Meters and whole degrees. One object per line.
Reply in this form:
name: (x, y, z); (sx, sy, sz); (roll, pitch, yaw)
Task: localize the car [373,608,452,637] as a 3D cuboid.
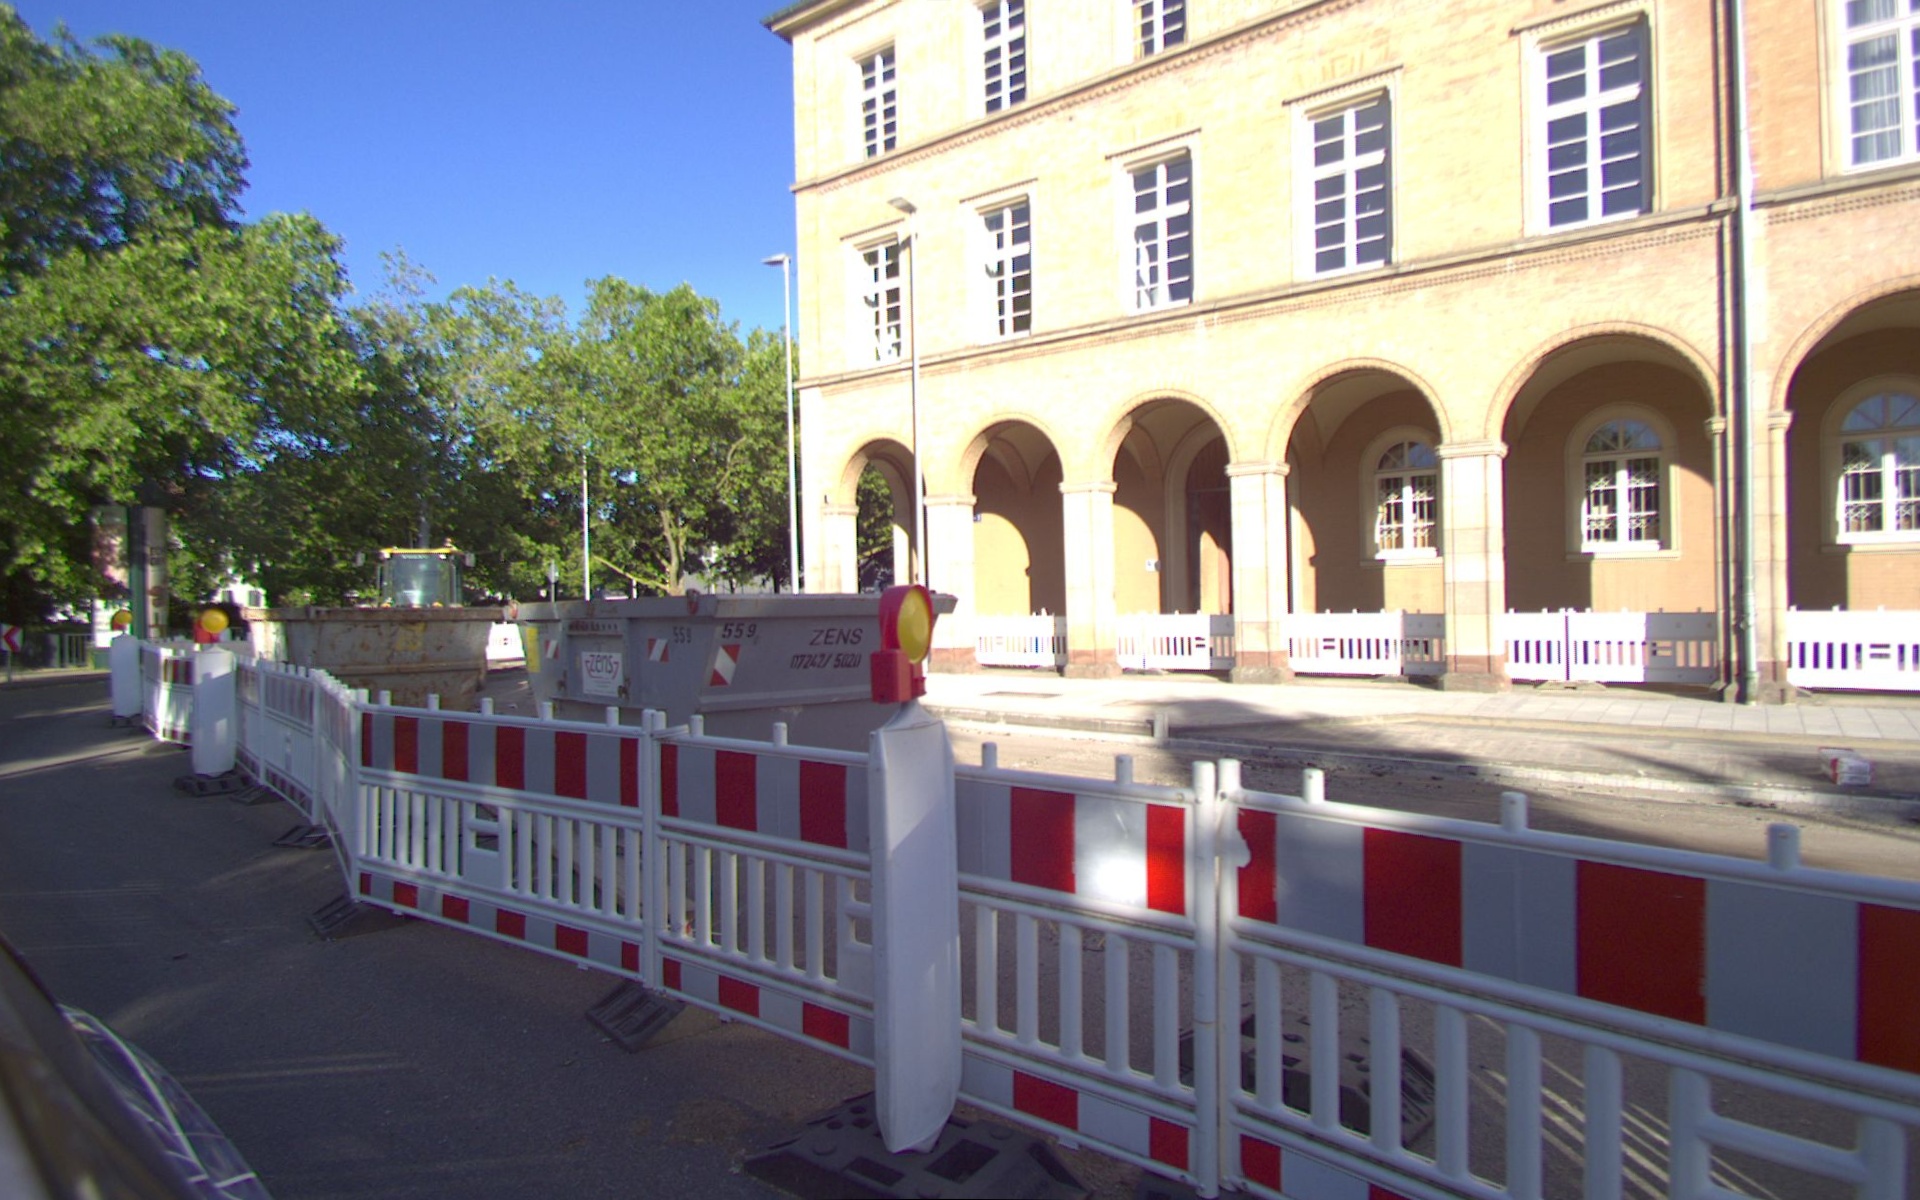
car: (-33.136, 1.323, 61.368); (1.548, 1.638, 3.957); (-3, -2, 32)

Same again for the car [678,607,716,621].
car: (-27.804, 1.476, 106.875); (3.835, 1.496, 1.614); (-1, 0, 30)

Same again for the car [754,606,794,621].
car: (-18.901, 1.378, 102.752); (3.835, 1.496, 1.614); (-1, 0, 30)

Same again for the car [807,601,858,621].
car: (-12.506, 1.100, 99.314); (4.701, 1.842, 2.088); (-1, 0, 30)

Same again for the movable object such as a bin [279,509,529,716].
movable object such as a bin: (-9.548, 0.175, 18.096); (2.524, 3.054, 5.948); (0, 0, -15)
